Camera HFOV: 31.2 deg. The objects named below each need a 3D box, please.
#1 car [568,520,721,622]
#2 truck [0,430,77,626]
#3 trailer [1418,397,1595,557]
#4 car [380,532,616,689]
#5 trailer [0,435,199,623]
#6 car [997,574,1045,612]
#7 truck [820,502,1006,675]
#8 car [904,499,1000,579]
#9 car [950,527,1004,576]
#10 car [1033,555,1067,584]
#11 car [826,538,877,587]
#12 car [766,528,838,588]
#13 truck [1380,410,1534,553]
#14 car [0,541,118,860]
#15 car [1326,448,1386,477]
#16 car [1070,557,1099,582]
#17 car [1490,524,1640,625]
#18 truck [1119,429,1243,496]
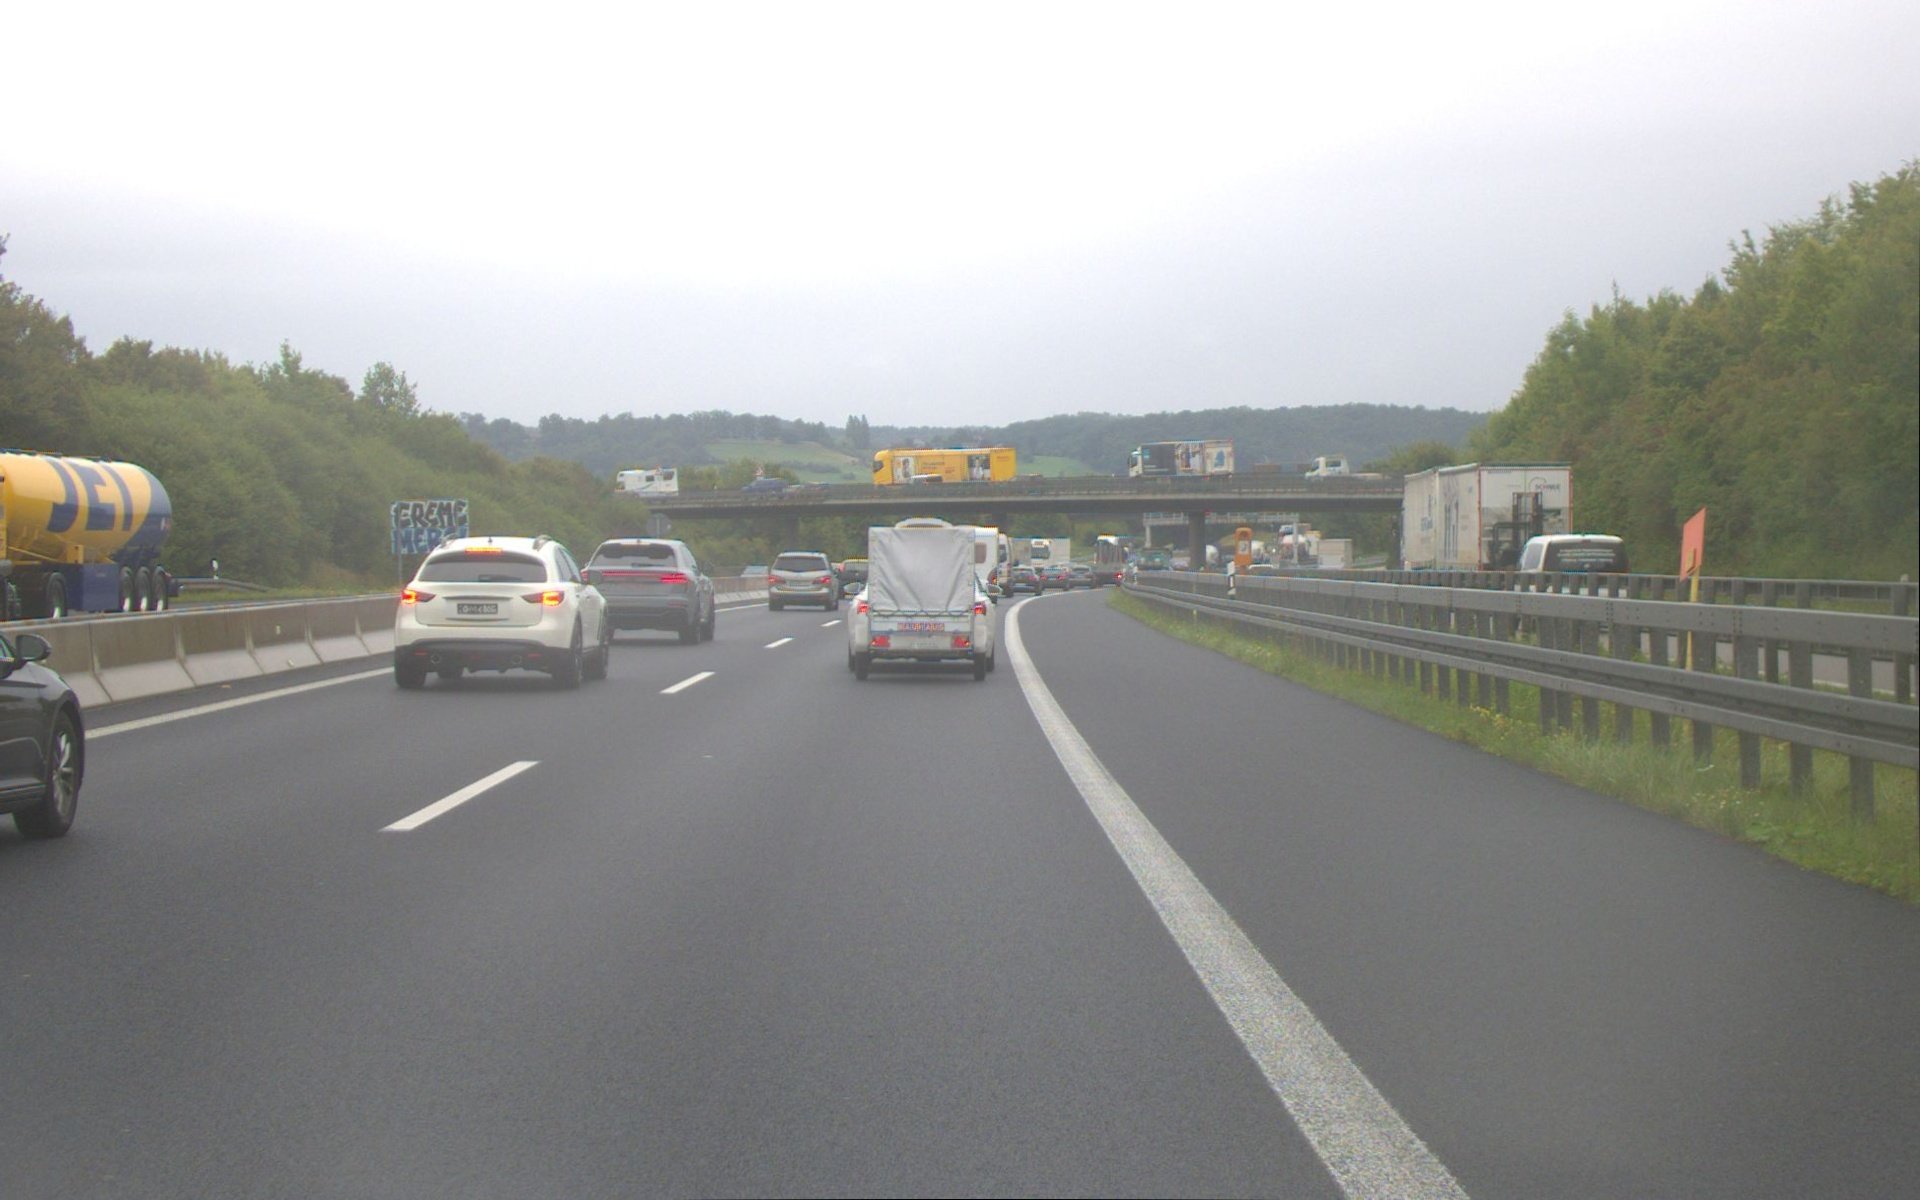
[{"bbox_3d":[-5.147,-0.496,56.635,2.174,1.626,4.501,0,1,-1],"label":"car"},{"bbox_3d":[-17.954,-1.286,61.250,2.762,3.386,5.846,1,1,2],"label":"truck"},{"bbox_3d":[15.350,-3.407,97.420,3.437,4.274,10.454,0,1,1],"label":"trailer"},{"bbox_3d":[-5.045,0.075,38.109,1.976,1.633,4.501,0,1,0],"label":"car"},{"bbox_3d":[-17.790,-1.365,67.646,2.762,3.386,11.447,1,1,2],"label":"trailer"},{"bbox_3d":[2.907,-0.364,164.585,1.993,1.744,4.001,1,1,-3],"label":"car"},{"bbox_3d":[-0.496,-0.208,43.005,2.019,1.979,7.213,0,1,2],"label":"truck"},{"bbox_3d":[-0.211,-2.042,114.493,3.017,2.607,6.074,0,1,2],"label":"car"},{"bbox_3d":[0.691,-2.040,144.652,1.993,2.029,4.152,1,1,-3],"label":"car"},{"bbox_3d":[5.588,-1.915,213.869,1.993,1.744,4.000,1,1,1],"label":"car"},{"bbox_3d":[-4.025,-1.404,127.553,1.841,1.813,4.000,0,1,-2],"label":"car"},{"bbox_3d":[-4.313,-1.174,94.258,1.900,1.607,4.017,0,1,-2],"label":"car"},{"bbox_3d":[15.463,-3.636,107.784,3.437,4.274,10.418,0,1,1],"label":"truck"},{"bbox_3d":[-5.448,0.472,16.003,1.900,1.492,4.852,0,1,0],"label":"car"},{"bbox_3d":[27.682,-9.609,240.433,1.838,1.908,3.999,0,1,-38],"label":"car"},{"bbox_3d":[8.703,-2.150,241.186,1.993,1.744,4.000,1,1,2],"label":"car"},{"bbox_3d":[11.201,-0.490,63.889,1.860,1.799,4.648,0,1,-1],"label":"car"},{"bbox_3d":[16.459,-10.214,256.733,3.767,4.819,10.043,0,1,-35],"label":"truck"}]
